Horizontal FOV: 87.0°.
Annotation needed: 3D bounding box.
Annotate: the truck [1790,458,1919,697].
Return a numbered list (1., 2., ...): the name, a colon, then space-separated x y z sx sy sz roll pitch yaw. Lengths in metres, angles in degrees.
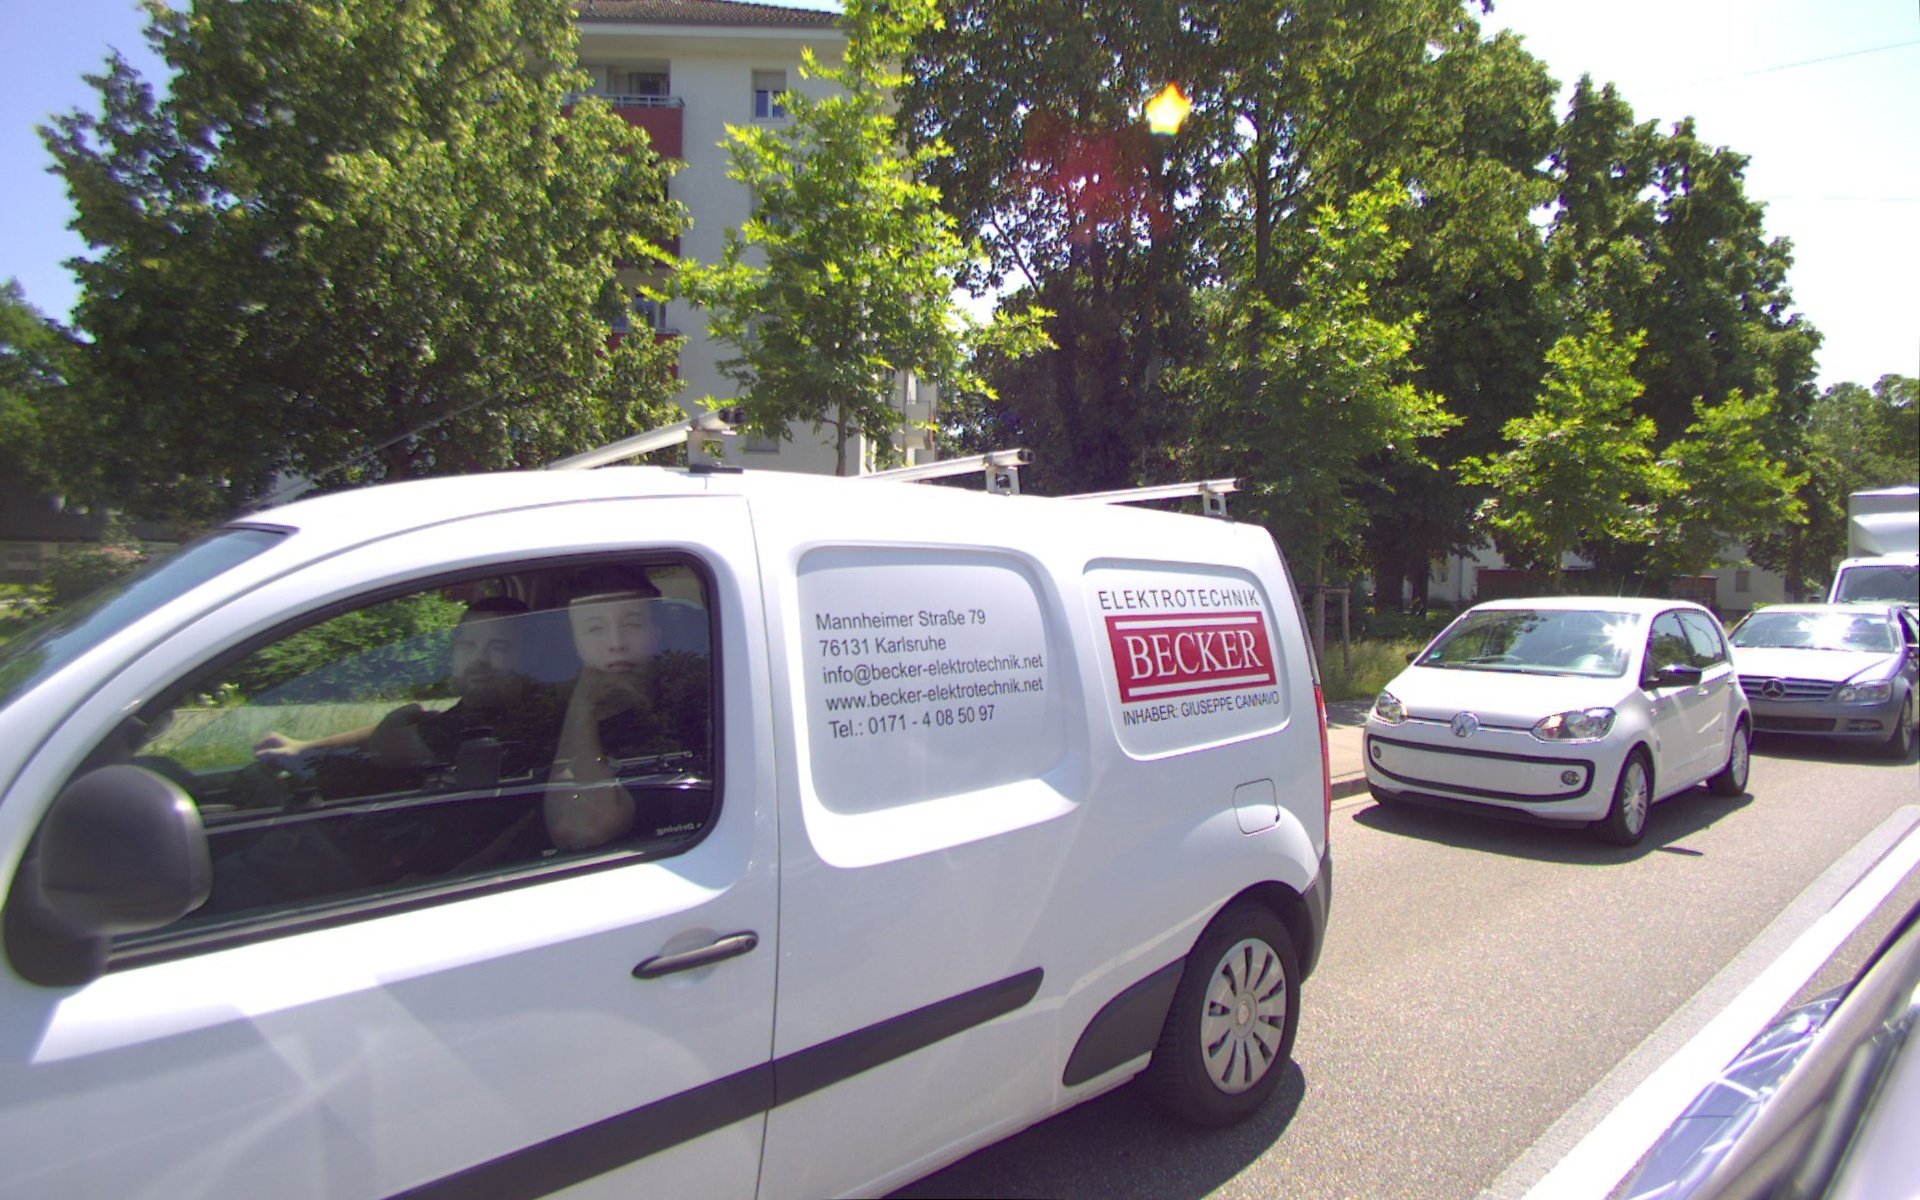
1. truck: 16.511 -0.334 16.972 7.778 3.387 2.434 0 1 -39

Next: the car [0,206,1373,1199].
1. car: -0.998 0.457 2.534 4.370 1.849 1.997 0 1 -41

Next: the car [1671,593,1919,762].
1. car: 9.228 0.658 10.738 4.016 1.426 1.839 0 1 -41

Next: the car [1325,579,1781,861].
1. car: 4.395 0.624 7.287 3.705 1.497 1.729 0 1 -41
